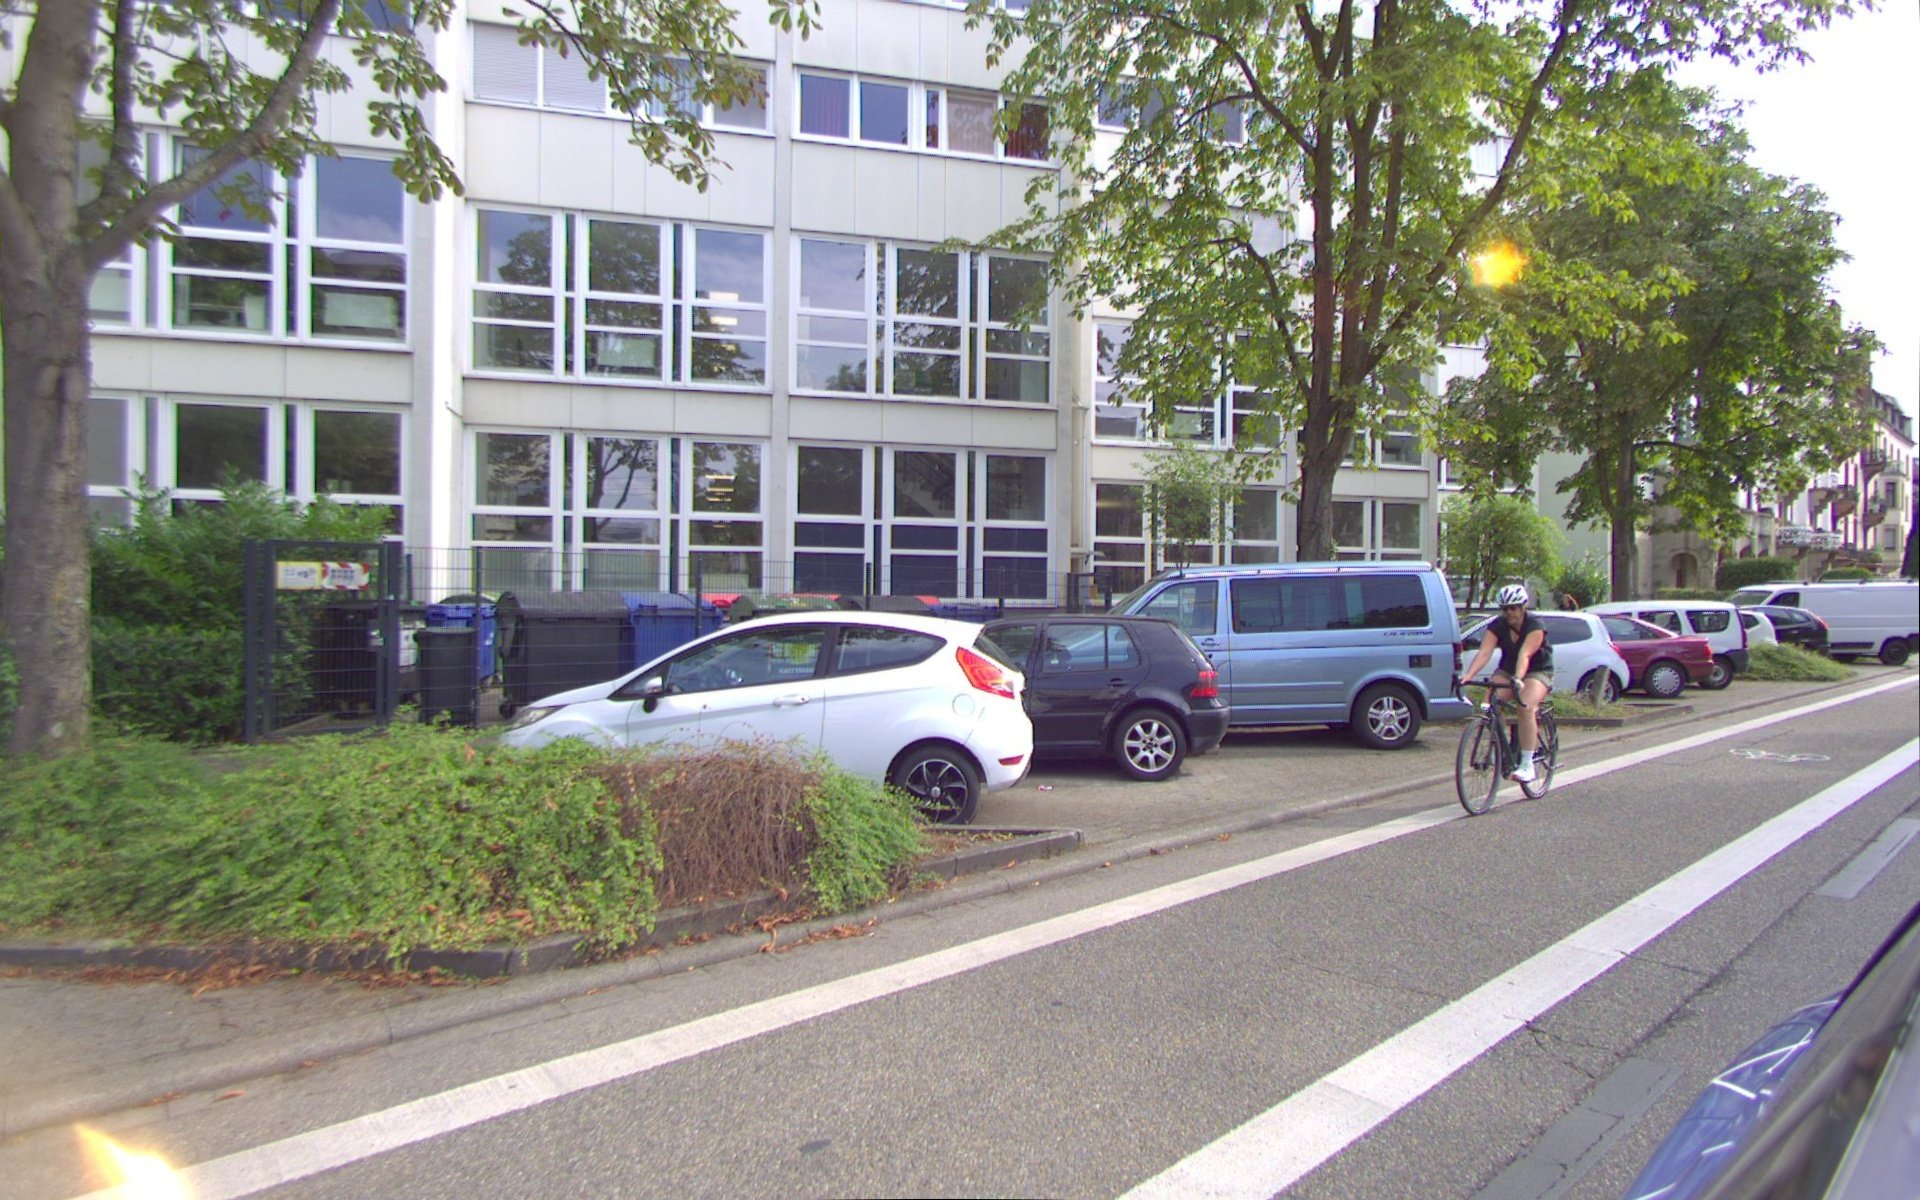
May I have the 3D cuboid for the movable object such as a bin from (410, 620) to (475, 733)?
[{"bbox_3d":[-5.414,0.775,10.588,0.561,1.117,0.653,0,-1,-31],"label":"movable object such as a bin"}]

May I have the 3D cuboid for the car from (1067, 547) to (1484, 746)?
[{"bbox_3d":[3.345,0.480,11.481,4.201,2.040,1.829,0,0,6],"label":"car"}]

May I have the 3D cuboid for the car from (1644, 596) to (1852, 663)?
[{"bbox_3d":[20.260,0.739,26.159,3.891,1.669,1.687,0,0,6],"label":"car"}]

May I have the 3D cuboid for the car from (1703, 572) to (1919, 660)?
[{"bbox_3d":[24.166,0.423,28.305,4.875,2.319,2.380,0,0,8],"label":"car"}]

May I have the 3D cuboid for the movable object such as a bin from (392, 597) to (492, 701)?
[{"bbox_3d":[-7.214,0.657,14.148,1.056,1.385,1.037,0,-1,-16],"label":"movable object such as a bin"}]

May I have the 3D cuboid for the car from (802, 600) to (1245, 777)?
[{"bbox_3d":[0.558,0.750,9.459,3.759,1.478,1.675,0,0,4],"label":"car"}]

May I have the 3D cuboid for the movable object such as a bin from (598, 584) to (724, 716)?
[{"bbox_3d":[-3.712,0.584,12.560,1.192,1.527,1.071,1,-1,-39],"label":"movable object such as a bin"}]

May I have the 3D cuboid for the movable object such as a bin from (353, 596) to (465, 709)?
[{"bbox_3d":[-7.073,0.648,13.053,1.056,1.385,1.037,0,-1,-16],"label":"movable object such as a bin"}]

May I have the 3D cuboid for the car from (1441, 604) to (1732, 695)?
[{"bbox_3d":[10.700,0.813,17.548,3.909,1.451,1.685,0,0,8],"label":"car"}]

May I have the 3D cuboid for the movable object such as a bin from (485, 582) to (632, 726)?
[{"bbox_3d":[-4.605,0.577,11.606,1.310,1.527,1.071,1,-1,-39],"label":"movable object such as a bin"}]

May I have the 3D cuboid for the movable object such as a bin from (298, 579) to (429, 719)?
[{"bbox_3d":[-6.931,0.548,11.832,1.056,1.542,1.121,0,-1,-16],"label":"movable object such as a bin"}]

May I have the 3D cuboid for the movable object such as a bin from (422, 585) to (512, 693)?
[{"bbox_3d":[-7.507,0.569,15.475,1.056,1.582,1.037,0,-1,-16],"label":"movable object such as a bin"}]

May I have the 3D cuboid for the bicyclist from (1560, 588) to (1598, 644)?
[{"bbox_3d":[17.142,0.443,28.028,0.786,1.488,0.649,1,2,-40],"label":"bicyclist"}]

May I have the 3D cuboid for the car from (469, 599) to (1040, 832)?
[{"bbox_3d":[-1.328,0.736,7.377,3.759,1.478,1.639,0,0,4],"label":"car"}]

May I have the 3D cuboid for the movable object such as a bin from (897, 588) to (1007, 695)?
[{"bbox_3d":[-0.123,0.601,15.387,1.299,1.527,1.071,1,-1,-39],"label":"movable object such as a bin"}]

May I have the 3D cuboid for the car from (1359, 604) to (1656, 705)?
[{"bbox_3d":[8.345,0.802,15.701,3.651,1.451,1.687,0,0,6],"label":"car"}]

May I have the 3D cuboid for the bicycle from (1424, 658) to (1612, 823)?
[{"bbox_3d":[4.280,0.989,7.683,2.036,0.993,0.639,0,0,-43],"label":"bicycle"}]

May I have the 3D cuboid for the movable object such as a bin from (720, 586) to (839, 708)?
[{"bbox_3d":[-2.402,0.589,13.426,1.192,1.527,1.071,1,-1,-39],"label":"movable object such as a bin"}]

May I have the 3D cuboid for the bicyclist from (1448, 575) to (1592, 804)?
[{"bbox_3d":[4.240,0.620,7.640,1.091,1.590,0.639,1,0,-42],"label":"bicyclist"}]

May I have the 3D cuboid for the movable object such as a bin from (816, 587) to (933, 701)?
[{"bbox_3d":[-1.214,0.595,14.424,1.299,1.527,1.071,1,-1,-39],"label":"movable object such as a bin"}]

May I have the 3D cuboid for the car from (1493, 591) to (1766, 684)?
[{"bbox_3d":[12.759,0.687,19.495,4.036,1.689,1.687,0,0,5],"label":"car"}]

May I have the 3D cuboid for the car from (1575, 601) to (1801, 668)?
[{"bbox_3d":[17.208,0.797,24.095,4.020,1.530,1.687,0,0,6],"label":"car"}]
